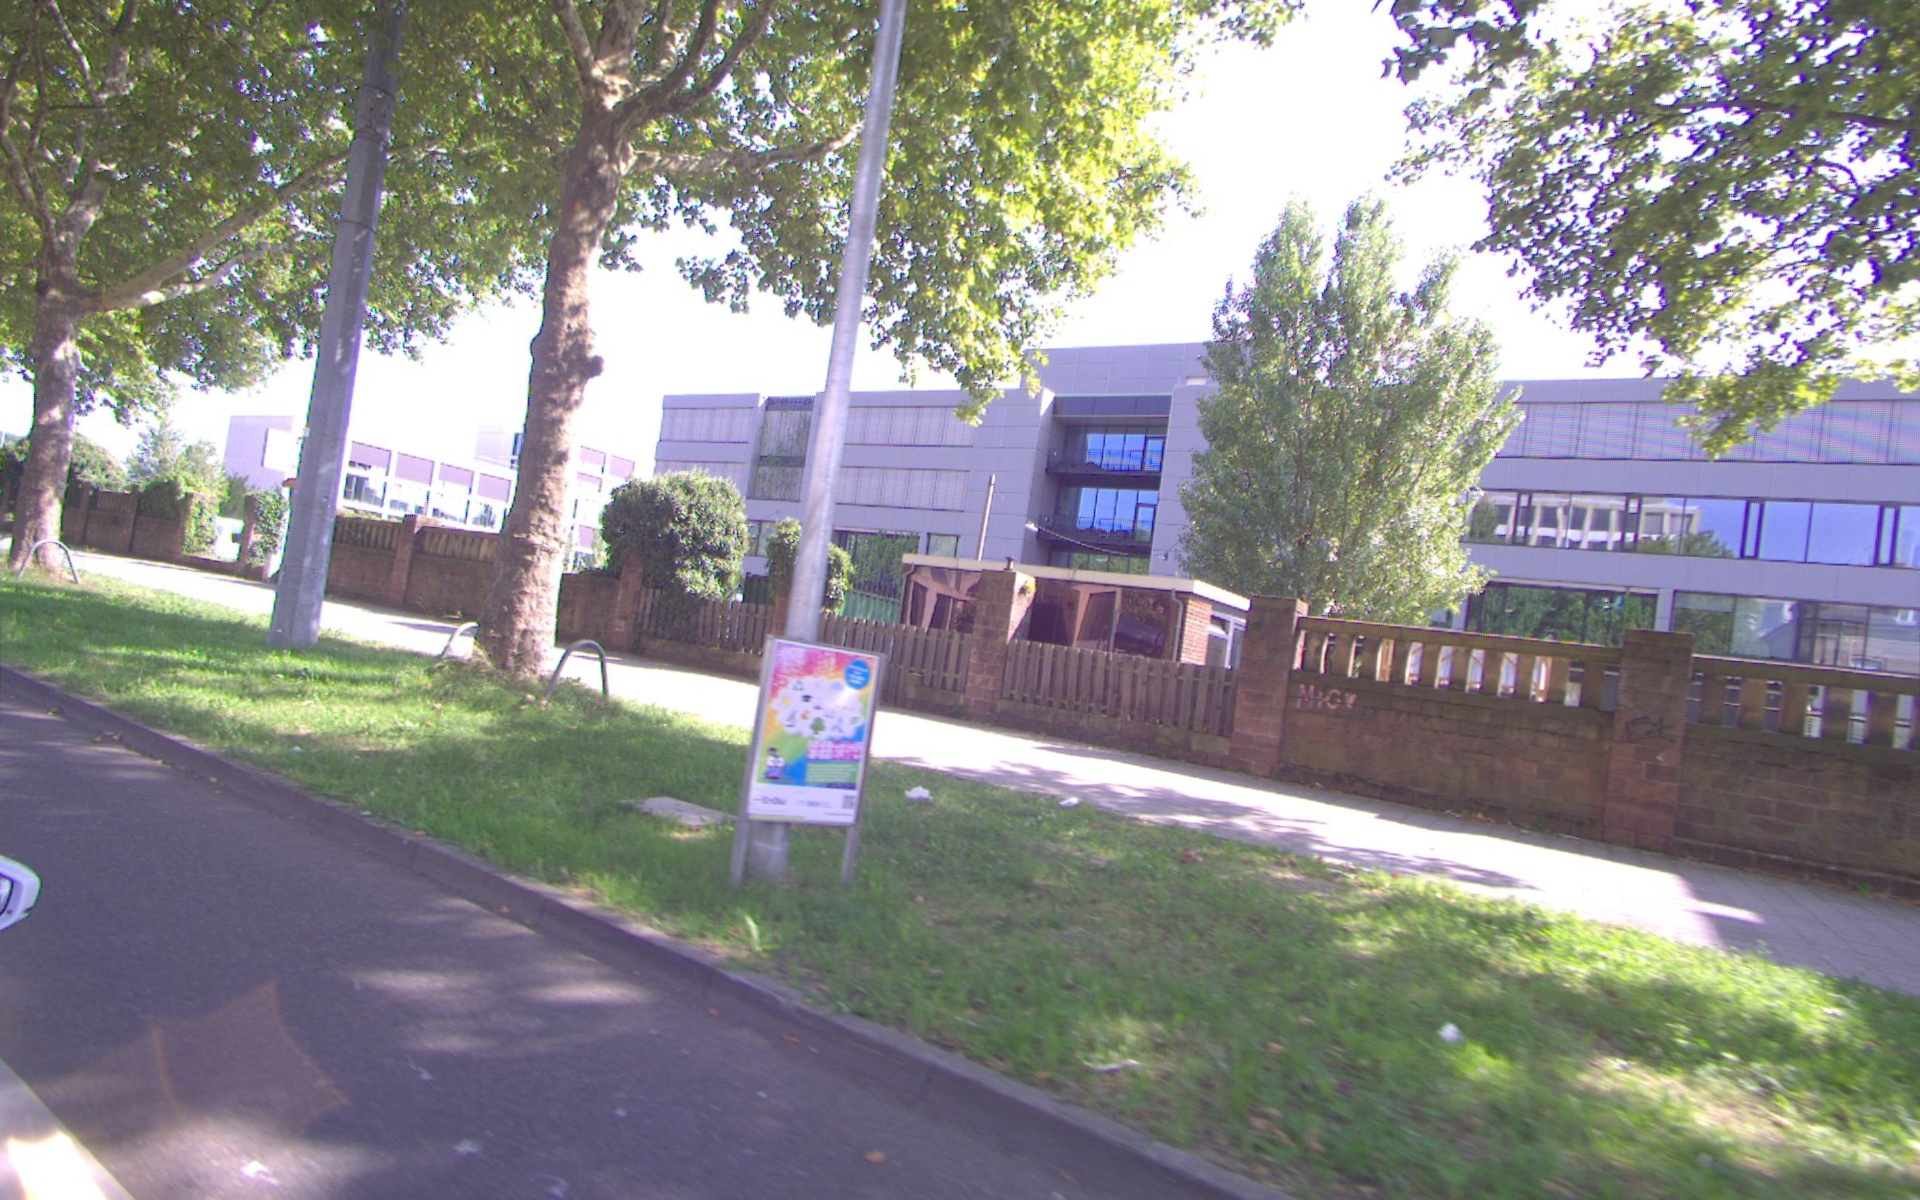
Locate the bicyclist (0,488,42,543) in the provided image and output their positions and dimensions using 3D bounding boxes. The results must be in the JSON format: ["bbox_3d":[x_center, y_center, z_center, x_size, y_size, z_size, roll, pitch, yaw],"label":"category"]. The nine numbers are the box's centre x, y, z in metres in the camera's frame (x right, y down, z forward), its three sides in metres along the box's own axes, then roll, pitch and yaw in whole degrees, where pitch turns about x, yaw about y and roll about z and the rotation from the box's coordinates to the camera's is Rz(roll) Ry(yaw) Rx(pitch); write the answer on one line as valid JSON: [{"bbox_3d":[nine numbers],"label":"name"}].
[{"bbox_3d":[-27.109,-2.446,29.040,0.828,1.470,0.549,7,-1,33],"label":"bicyclist"}]

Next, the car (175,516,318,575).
[{"bbox_3d":[-30.613,-2.290,43.302,1.877,1.753,4.532,7,-2,30],"label":"car"}]

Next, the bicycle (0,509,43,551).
[{"bbox_3d":[-27.177,-2.019,29.038,1.685,1.018,0.549,7,-2,33],"label":"bicycle"}]
